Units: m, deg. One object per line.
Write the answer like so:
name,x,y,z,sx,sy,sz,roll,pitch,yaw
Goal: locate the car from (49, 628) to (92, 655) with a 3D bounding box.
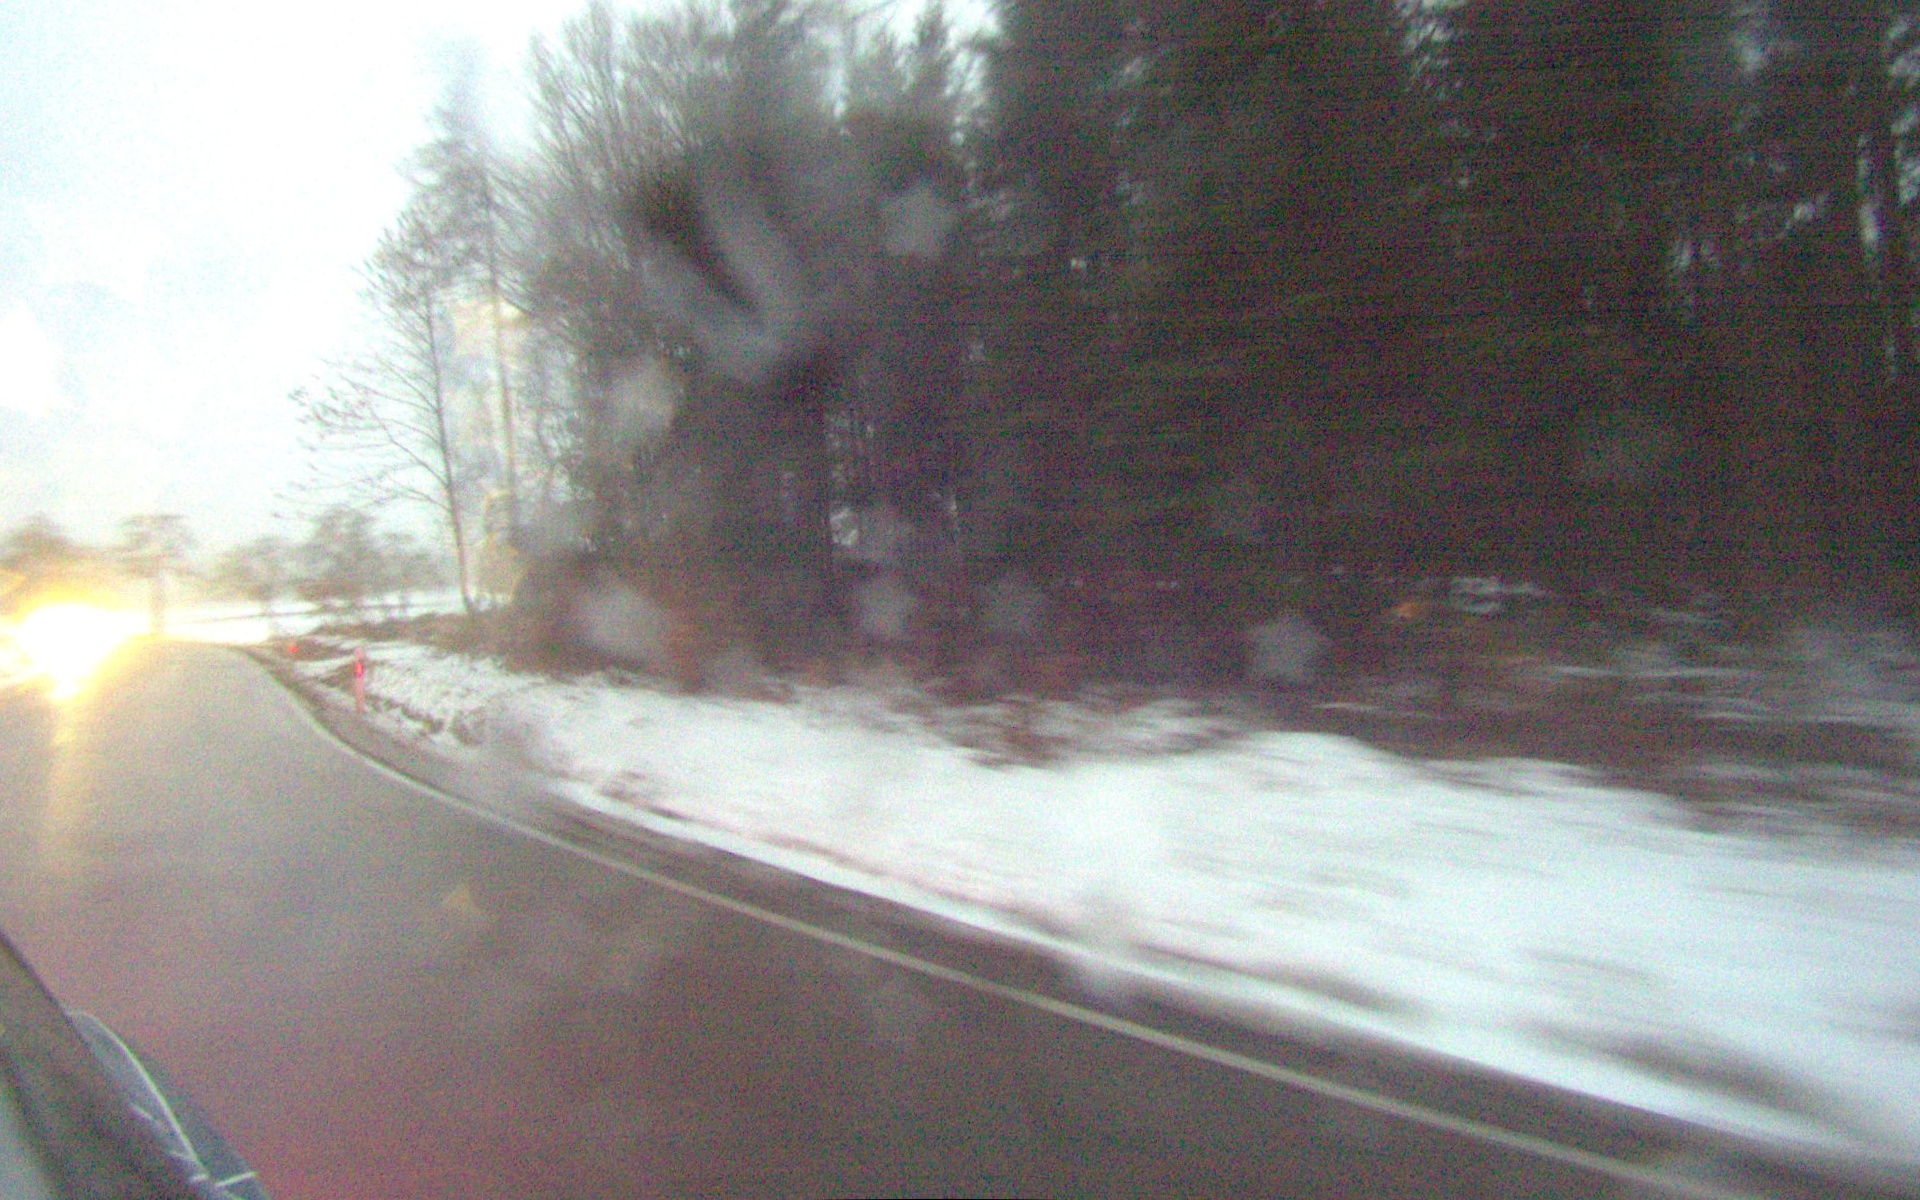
car,-76.321,3.545,86.814,3.995,2.028,1.975,0,5,39
